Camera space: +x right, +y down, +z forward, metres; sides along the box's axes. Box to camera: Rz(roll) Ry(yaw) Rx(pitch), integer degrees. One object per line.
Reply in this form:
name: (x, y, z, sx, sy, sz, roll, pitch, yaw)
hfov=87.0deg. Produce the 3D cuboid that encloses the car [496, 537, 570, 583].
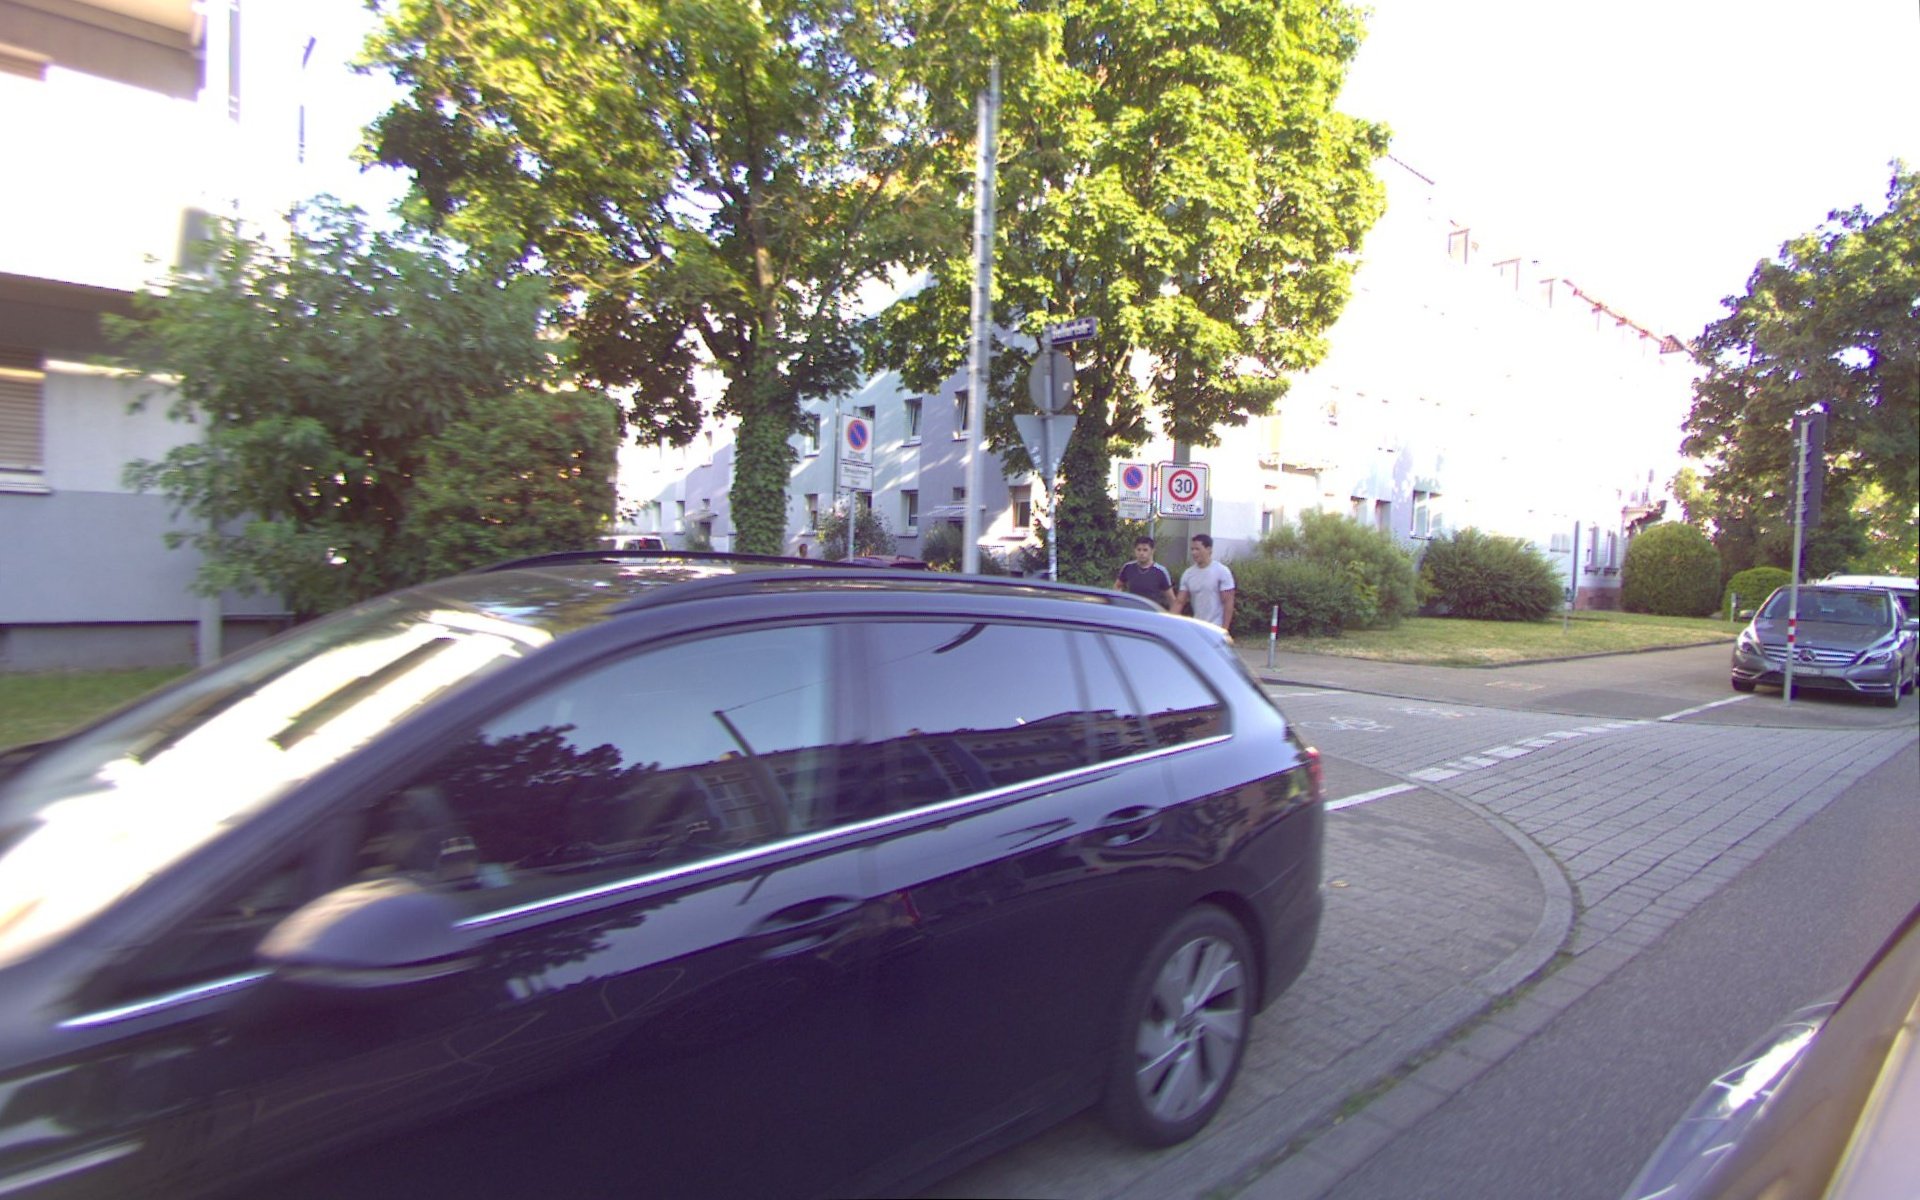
car: (-16.670, -1.541, 39.469, 1.631, 1.711, 3.647, 0, 1, -41)

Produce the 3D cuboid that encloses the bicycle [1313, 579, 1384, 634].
bicycle: (7.237, 0.114, 18.823, 1.651, 0.956, 0.476, 0, 3, -41)

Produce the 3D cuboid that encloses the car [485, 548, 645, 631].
car: (-7.975, -0.244, 20.208, 1.700, 1.479, 4.166, 0, 1, -41)

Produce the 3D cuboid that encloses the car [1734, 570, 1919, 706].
car: (12.663, 0.442, 14.497, 4.180, 1.575, 1.757, 0, 5, -43)

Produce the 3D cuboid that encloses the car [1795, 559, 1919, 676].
car: (16.275, 0.248, 17.850, 4.349, 1.830, 1.802, 0, 2, -43)

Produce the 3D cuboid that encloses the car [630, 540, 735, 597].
car: (-8.266, -0.919, 30.022, 1.605, 1.576, 3.647, 0, 1, -41)

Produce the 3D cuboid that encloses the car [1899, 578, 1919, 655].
car: (23.226, 0.391, 23.294, 4.175, 1.683, 1.759, 0, 3, -39)

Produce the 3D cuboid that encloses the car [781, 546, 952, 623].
car: (-2.217, -0.376, 23.065, 1.729, 1.576, 4.246, 0, 1, -41)

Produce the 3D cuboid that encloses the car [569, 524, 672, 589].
car: (-11.636, -1.454, 34.560, 1.930, 2.037, 4.248, 0, 1, -39)

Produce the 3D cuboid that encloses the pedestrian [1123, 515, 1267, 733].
pedestrian: (2.184, 0.188, 9.379, 1.049, 1.883, 0.750, 0, 3, -41)

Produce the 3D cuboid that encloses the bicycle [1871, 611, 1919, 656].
bicycle: (19.861, 0.719, 20.853, 0.386, 0.880, 1.554, 0, 3, -43)

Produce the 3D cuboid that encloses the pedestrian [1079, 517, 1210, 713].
pedestrian: (1.865, 0.127, 10.303, 0.931, 1.883, 0.803, 1, 3, -30)

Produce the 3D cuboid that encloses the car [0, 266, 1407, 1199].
car: (-0.859, 0.472, 2.362, 4.175, 1.707, 1.758, 0, 1, -39)

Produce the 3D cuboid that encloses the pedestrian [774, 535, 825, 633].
pedestrian: (-2.971, -0.309, 18.672, 0.784, 1.742, 0.746, 2, 3, -16)

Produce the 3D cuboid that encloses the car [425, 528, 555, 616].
car: (-11.298, -0.659, 24.162, 1.729, 1.902, 4.246, 0, 1, -41)

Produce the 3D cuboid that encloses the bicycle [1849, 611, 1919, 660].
bicycle: (18.586, 0.716, 19.936, 1.551, 0.880, 0.387, 4, 3, 41)

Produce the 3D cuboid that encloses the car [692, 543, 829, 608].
car: (-5.372, -0.650, 26.905, 1.729, 1.576, 4.246, 0, 1, -41)
